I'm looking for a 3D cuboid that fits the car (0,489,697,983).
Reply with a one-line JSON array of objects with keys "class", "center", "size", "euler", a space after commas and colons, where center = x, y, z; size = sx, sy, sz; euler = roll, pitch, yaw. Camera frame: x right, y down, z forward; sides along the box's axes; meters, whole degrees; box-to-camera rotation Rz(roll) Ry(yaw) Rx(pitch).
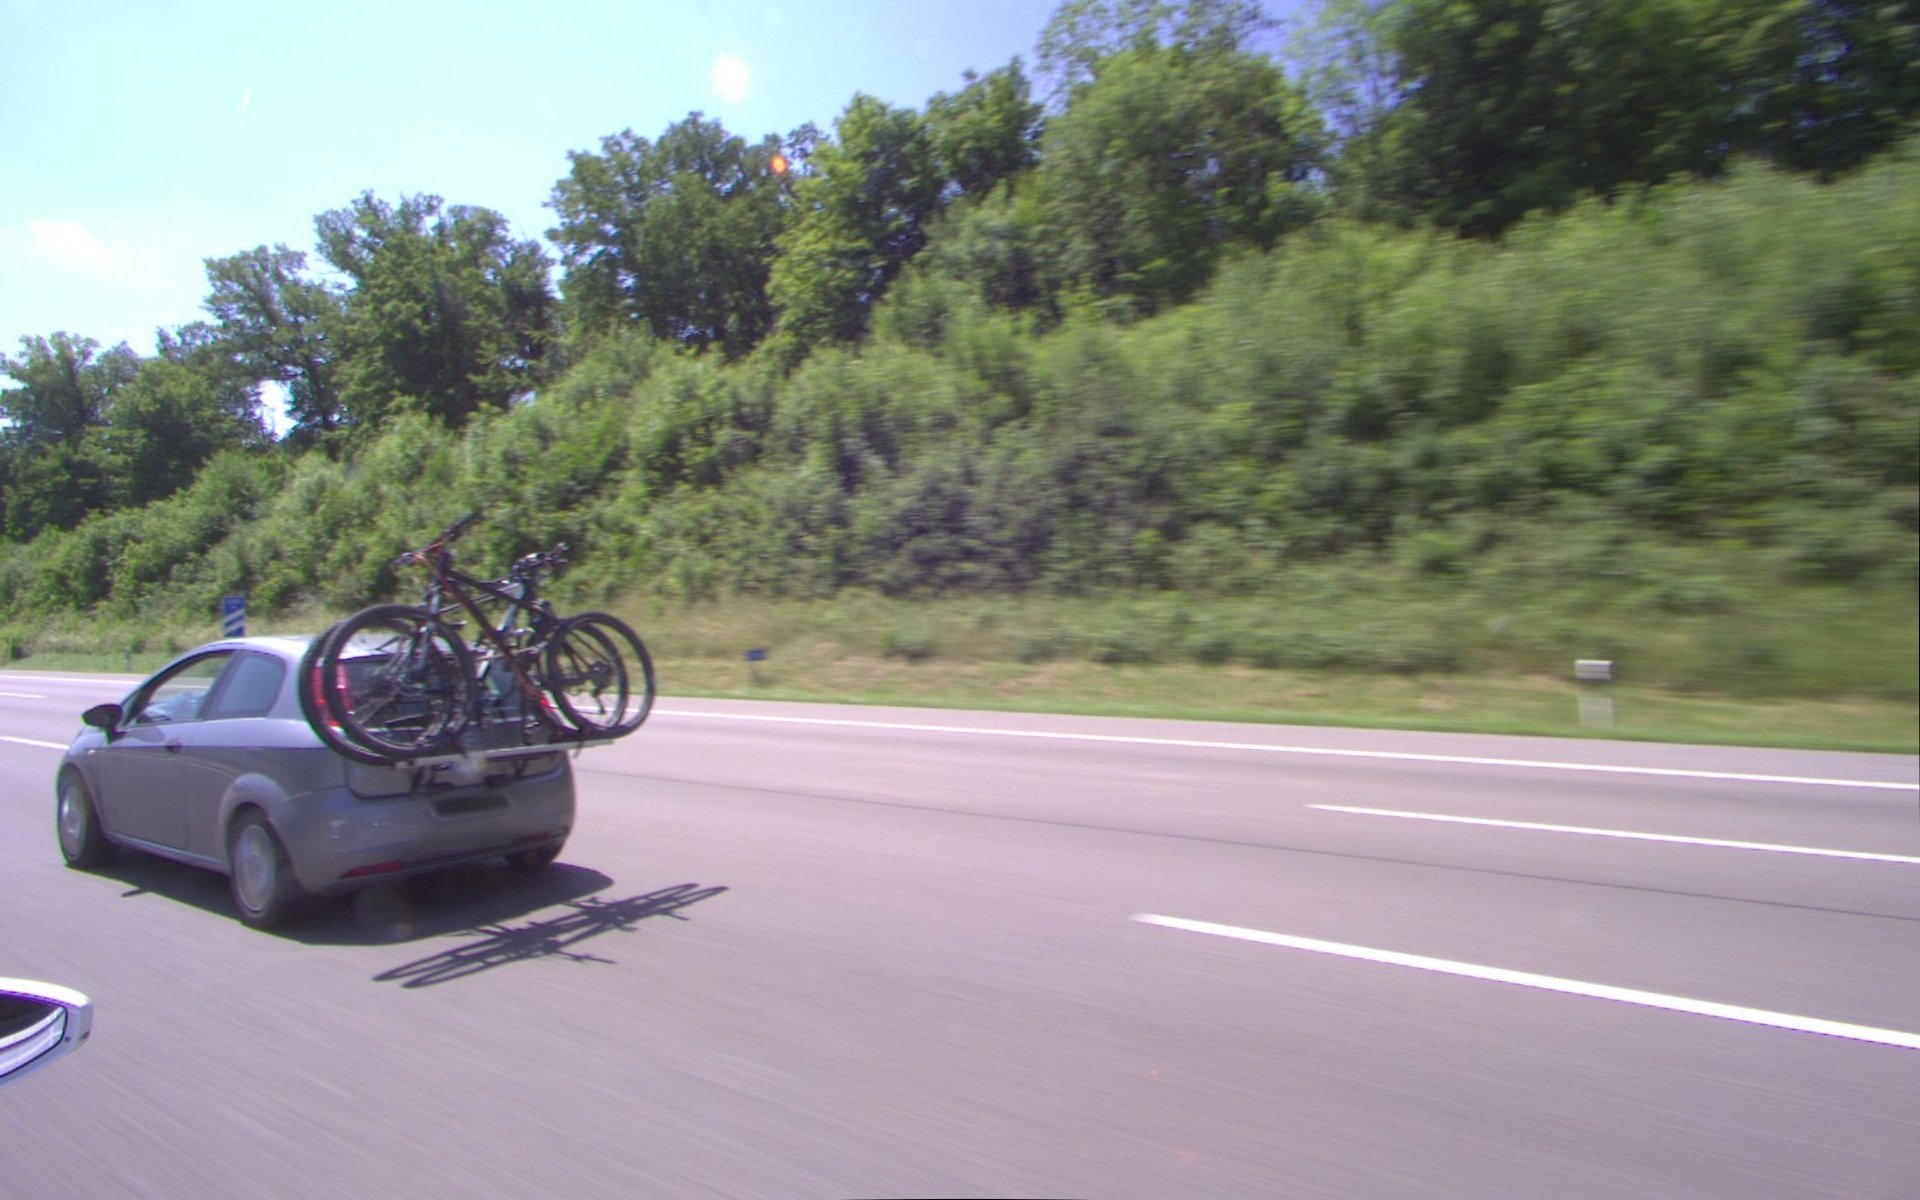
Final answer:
[{"class": "car", "center": [-4.047, 0.626, 6.329], "size": [4.716, 2.080, 1.957], "euler": [-1, -1, 33]}]
